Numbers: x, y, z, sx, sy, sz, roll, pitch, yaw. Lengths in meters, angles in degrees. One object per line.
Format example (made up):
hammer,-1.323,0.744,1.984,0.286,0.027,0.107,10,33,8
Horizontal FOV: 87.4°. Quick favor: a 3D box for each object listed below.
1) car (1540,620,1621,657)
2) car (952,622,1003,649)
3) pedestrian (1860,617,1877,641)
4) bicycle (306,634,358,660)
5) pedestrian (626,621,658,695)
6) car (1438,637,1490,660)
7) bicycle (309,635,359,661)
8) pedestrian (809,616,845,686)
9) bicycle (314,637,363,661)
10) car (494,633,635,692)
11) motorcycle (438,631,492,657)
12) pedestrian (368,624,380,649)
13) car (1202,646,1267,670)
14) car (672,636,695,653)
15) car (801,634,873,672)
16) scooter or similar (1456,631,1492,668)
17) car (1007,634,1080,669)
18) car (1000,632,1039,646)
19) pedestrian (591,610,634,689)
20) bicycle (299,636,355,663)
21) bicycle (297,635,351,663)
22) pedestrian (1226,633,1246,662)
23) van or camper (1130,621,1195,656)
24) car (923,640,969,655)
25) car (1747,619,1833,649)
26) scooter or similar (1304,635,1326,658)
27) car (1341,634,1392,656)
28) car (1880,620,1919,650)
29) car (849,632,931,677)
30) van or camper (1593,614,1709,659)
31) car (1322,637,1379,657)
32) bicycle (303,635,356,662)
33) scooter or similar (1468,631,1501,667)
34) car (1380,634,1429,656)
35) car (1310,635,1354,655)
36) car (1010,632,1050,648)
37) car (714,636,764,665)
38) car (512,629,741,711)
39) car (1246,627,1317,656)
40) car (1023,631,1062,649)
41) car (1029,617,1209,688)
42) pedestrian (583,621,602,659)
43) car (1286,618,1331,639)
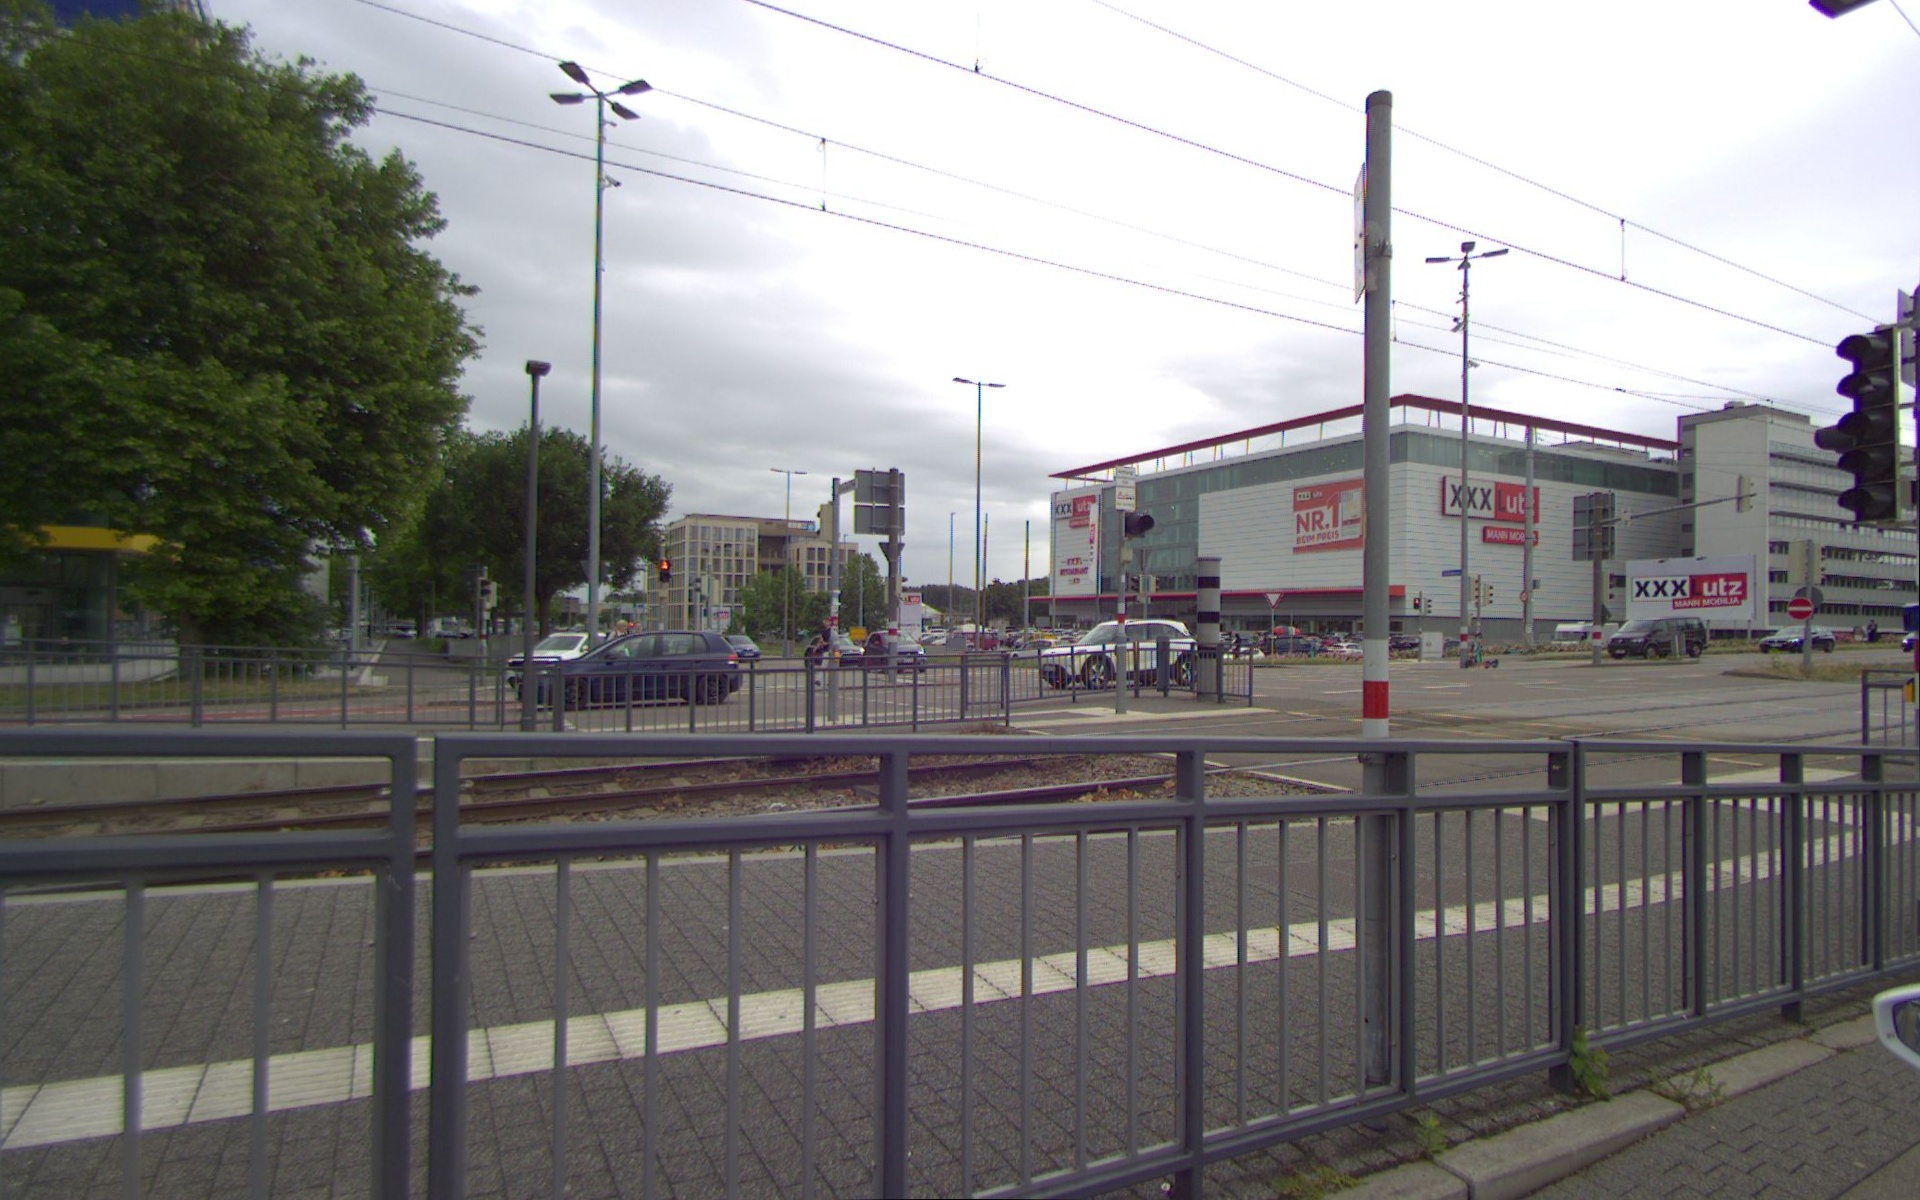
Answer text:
car,53.842,3.356,87.127,6.861,3.029,2.750,2,0,-27
car,1.777,3.573,100.804,4.676,2.614,2.156,2,0,-26
pedestrian,65.153,2.075,72.031,0.553,1.711,0.679,2,0,-26
bicycle,-30.042,2.275,48.073,1.998,1.172,0.589,4,-3,-30
pedestrian,-7.627,1.381,24.095,0.665,1.734,0.762,1,-2,-21
car,39.816,3.818,79.347,3.954,1.687,1.871,2,-2,-31
bicycle,-30.489,2.345,48.967,1.998,1.172,0.589,4,-3,-30
pedestrian,-3.556,1.366,26.790,0.657,1.787,0.682,-2,-4,-31
bicycle,-31.233,2.464,50.504,2.007,1.172,0.586,4,-3,-41
car,-11.547,1.806,29.686,1.855,1.606,4.414,0,-3,9
motorcycle,-27.512,2.460,55.857,2.481,1.373,0.791,5,-4,-40
pedestrian,-42.394,2.649,72.655,0.671,1.769,0.802,2,-2,-28
car,18.318,3.829,67.019,4.070,1.465,1.861,2,0,-29
car,-33.903,5.425,122.980,1.974,2.040,3.973,0,-1,-27
car,-5.274,2.236,42.732,1.647,1.522,4.035,1,-2,-29
scooter or similar,17.787,1.710,34.764,1.001,1.272,0.463,0,-3,-15
car,4.858,2.976,58.892,1.984,1.775,4.132,2,0,-39
car,6.591,4.334,111.421,3.951,1.554,1.875,2,-2,-29
pedestrian,-8.140,1.162,23.506,0.756,1.821,0.671,-3,-4,45
bicycle,-28.276,2.225,44.880,2.009,1.172,0.586,5,-4,-44
bicycle,-29.111,2.248,46.032,1.998,1.172,0.589,4,-3,-30
pedestrian,15.656,2.698,57.035,0.775,1.618,0.711,1,-4,-31
van or camper,17.617,3.371,87.345,5.315,3.023,1.983,1,-2,-20
car,-1.464,4.927,104.373,4.331,1.480,1.948,2,-1,-26
car,43.823,1.772,53.034,4.265,1.483,1.956,1,-1,-27
scooter or similar,19.344,2.525,54.734,1.143,1.249,0.346,-1,-4,24
car,35.630,3.905,88.045,4.167,1.804,1.853,0,-1,-26
car,50.641,1.838,52.768,4.147,1.483,1.827,1,1,-23
car,-2.647,1.986,37.335,1.627,1.435,3.682,2,0,-29
van or camper,33.279,1.766,48.370,4.677,2.039,2.117,-1,-3,-18
car,29.778,3.566,76.632,4.155,1.495,1.734,1,-2,-26
bicycle,-29.521,2.284,47.047,1.998,1.172,0.589,4,-3,-30
scooter or similar,18.738,1.744,35.889,1.097,1.272,0.320,0,-2,-15
car,40.064,4.066,90.621,3.946,1.954,1.938,1,-2,-26
car,36.026,4.359,97.336,3.946,1.842,1.810,1,-2,-26
car,7.624,4.366,109.250,3.948,1.617,1.867,2,0,-27
car,-12.120,2.748,54.963,1.588,1.463,4.114,-1,-2,-28
car,-6.359,1.292,19.239,3.951,1.437,1.714,1,-3,-29
car,24.469,3.131,76.529,4.980,2.193,2.111,1,-2,-23
car,8.808,4.264,107.173,3.699,1.791,1.722,2,0,-26
car,3.905,1.285,24.627,4.089,1.606,1.786,1,-4,-27
pedestrian,-16.323,1.800,44.636,0.628,1.663,0.803,2,-4,-30
car,34.485,2.794,99.293,3.948,2.040,1.986,1,1,-27
